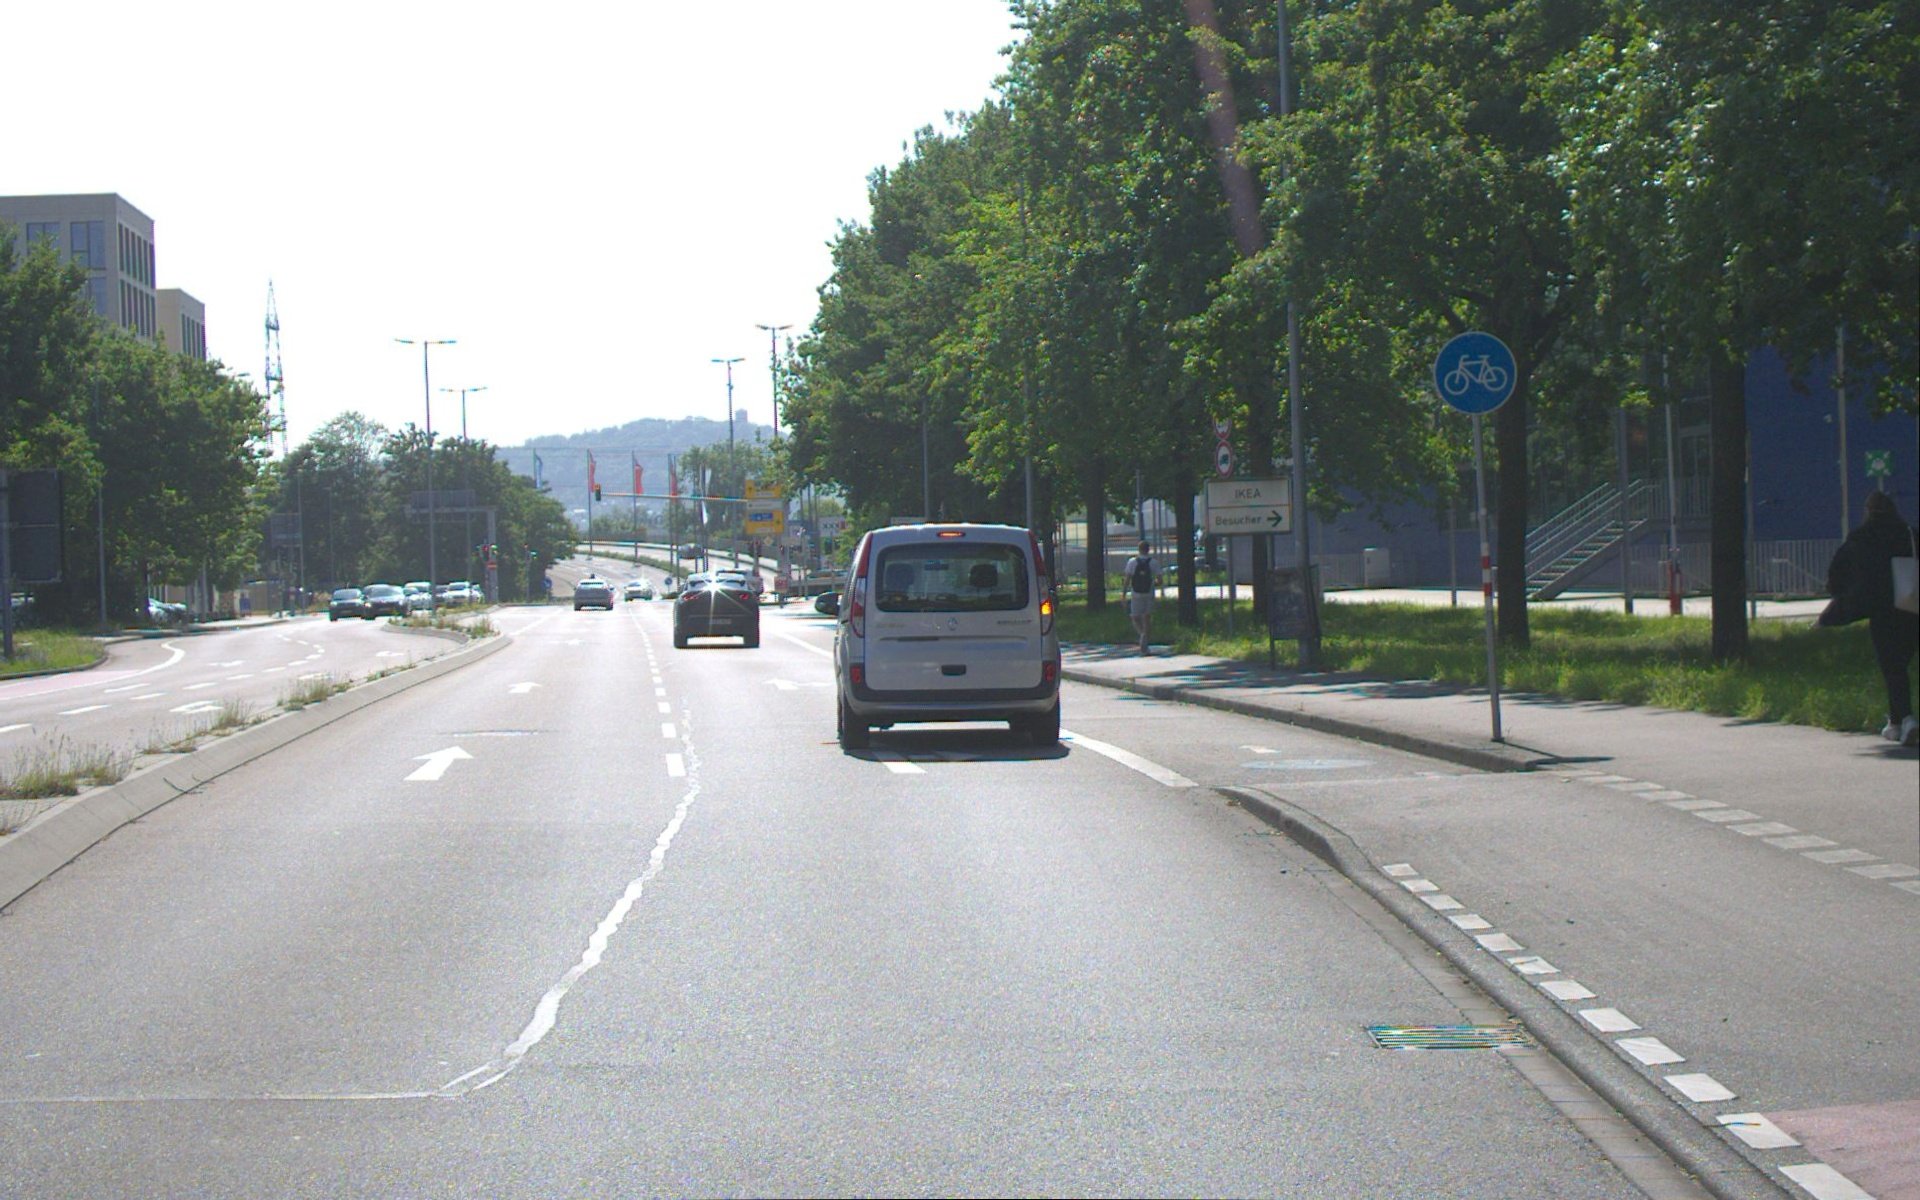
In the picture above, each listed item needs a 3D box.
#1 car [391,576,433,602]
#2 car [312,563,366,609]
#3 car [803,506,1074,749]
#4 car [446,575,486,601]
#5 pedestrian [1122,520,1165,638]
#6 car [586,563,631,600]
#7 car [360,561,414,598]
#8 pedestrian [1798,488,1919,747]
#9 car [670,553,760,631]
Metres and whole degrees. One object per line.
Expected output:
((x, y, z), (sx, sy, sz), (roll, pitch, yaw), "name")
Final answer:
((-33.028, -0.693, 207.313), (1.892, 1.459, 4.000), (-2, 1, 0), "car")
((-28.939, -0.664, 160.256), (1.993, 2.006, 4.001), (0, 2, -3), "car")
((-0.260, 0.190, 28.846), (1.905, 1.822, 4.181), (-2, 1, -5), "car")
((-29.968, -0.717, 208.744), (1.815, 1.459, 4.000), (-2, 1, 0), "car")
((2.916, -0.336, 54.635), (0.535, 1.835, 0.728), (-2, 1, -5), "pedestrian")
((-17.156, -0.911, 167.882), (1.993, 1.678, 4.001), (-2, 1, -4), "car")
((-25.177, -0.910, 151.285), (1.841, 1.458, 5.001), (-4, 1, -5), "car")
((5.788, 0.101, 21.799), (0.647, 1.598, 0.847), (-2, 1, -4), "pedestrian")
((-5.549, -0.205, 78.168), (1.807, 1.634, 4.459), (-2, 1, -2), "car")
